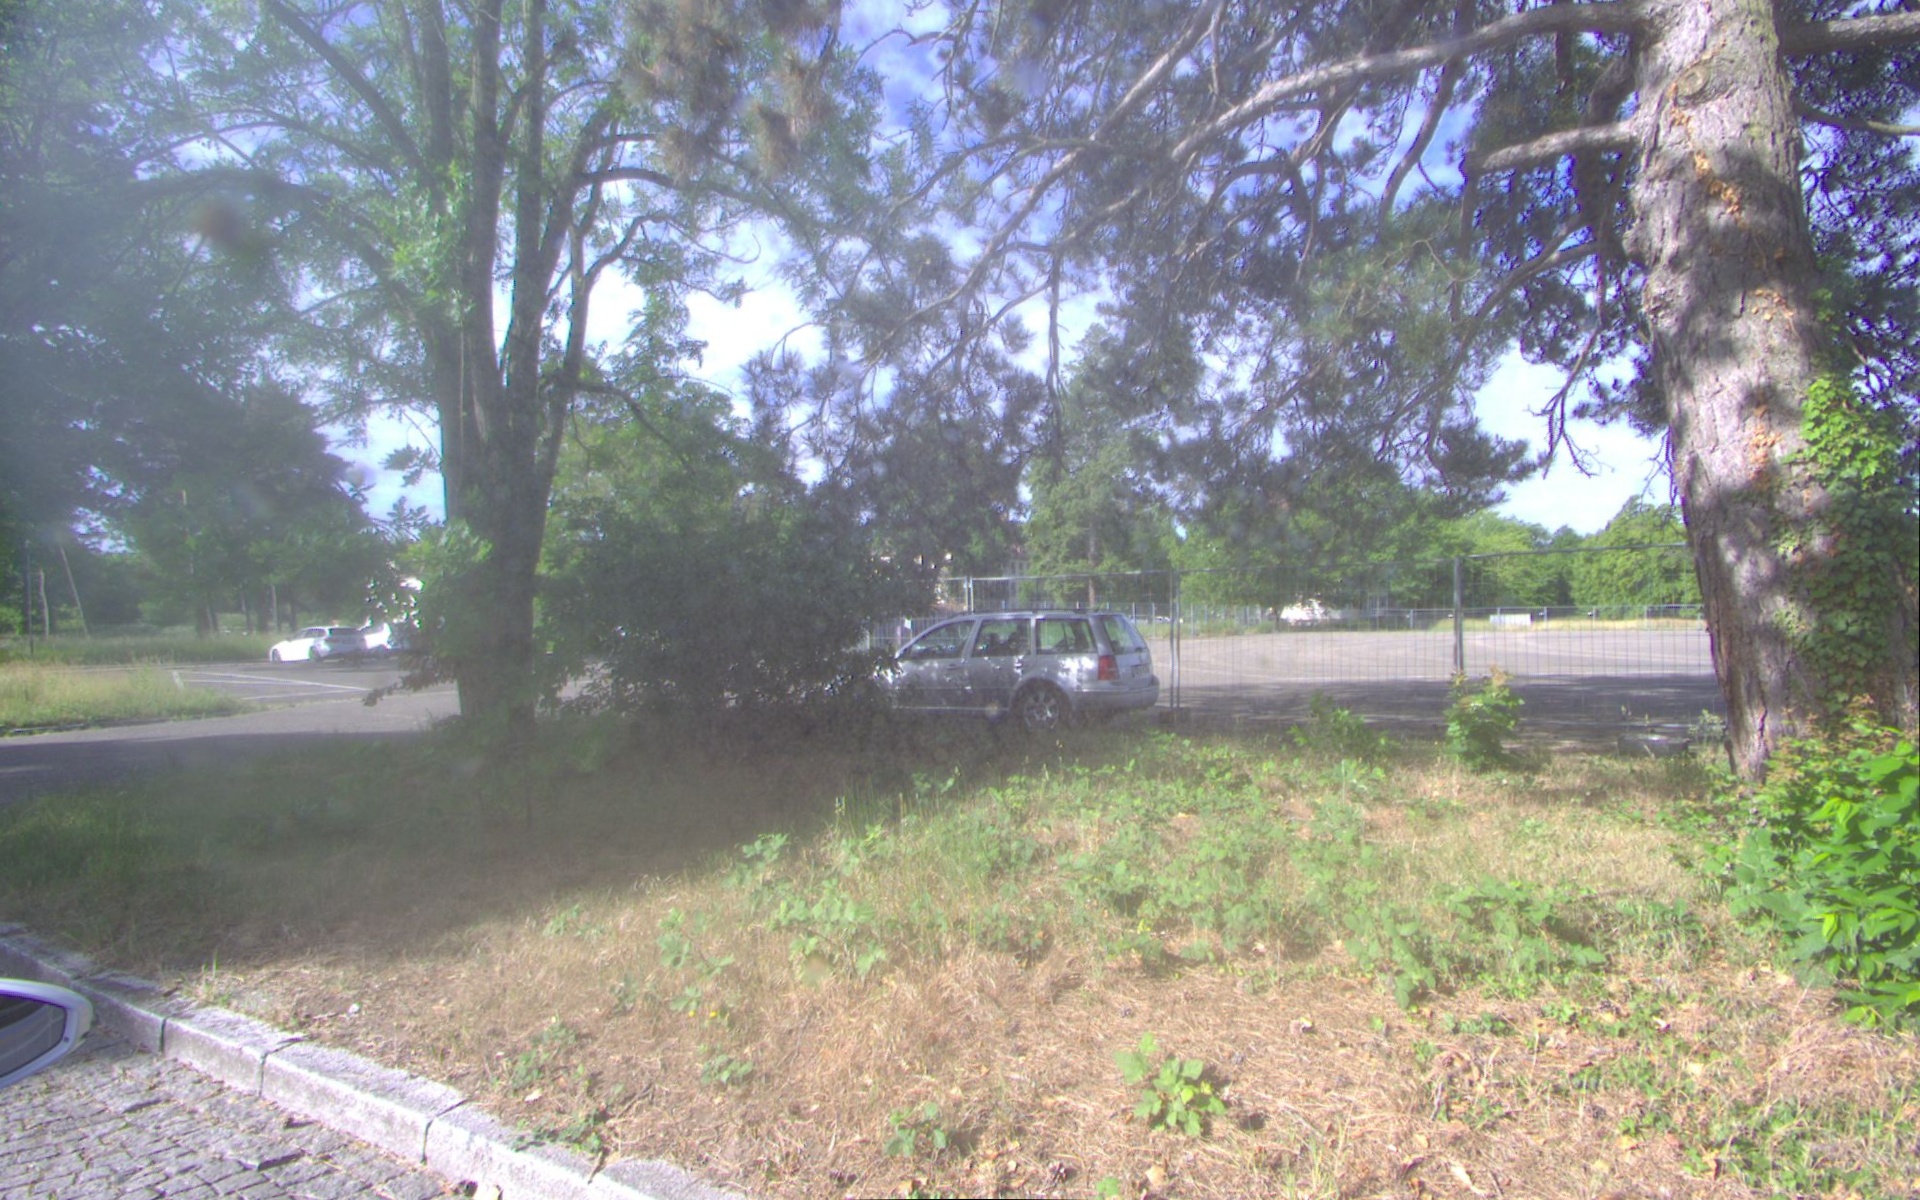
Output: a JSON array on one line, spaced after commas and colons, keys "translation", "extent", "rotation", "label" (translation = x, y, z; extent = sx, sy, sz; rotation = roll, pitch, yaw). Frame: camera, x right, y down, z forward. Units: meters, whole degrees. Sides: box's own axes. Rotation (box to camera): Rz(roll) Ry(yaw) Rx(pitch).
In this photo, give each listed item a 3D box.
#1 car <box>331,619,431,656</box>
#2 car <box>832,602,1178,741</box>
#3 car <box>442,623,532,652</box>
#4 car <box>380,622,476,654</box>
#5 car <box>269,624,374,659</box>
[{"translation": [-24.765, 1.587, 42.792], "extent": [4.265, 1.496, 1.729], "rotation": [-1, -1, 28], "label": "car"}, {"translation": [0.522, 0.807, 12.364], "extent": [3.938, 1.487, 1.666], "rotation": [-1, -1, 28], "label": "car"}, {"translation": [-22.550, 1.770, 47.712], "extent": [4.265, 1.329, 1.729], "rotation": [-1, 0, 28], "label": "car"}, {"translation": [-23.902, 1.699, 44.965], "extent": [4.265, 1.329, 1.729], "rotation": [-1, -1, 28], "label": "car"}, {"translation": [-25.809, 1.659, 40.477], "extent": [4.265, 1.329, 1.729], "rotation": [-1, -1, 28], "label": "car"}]
